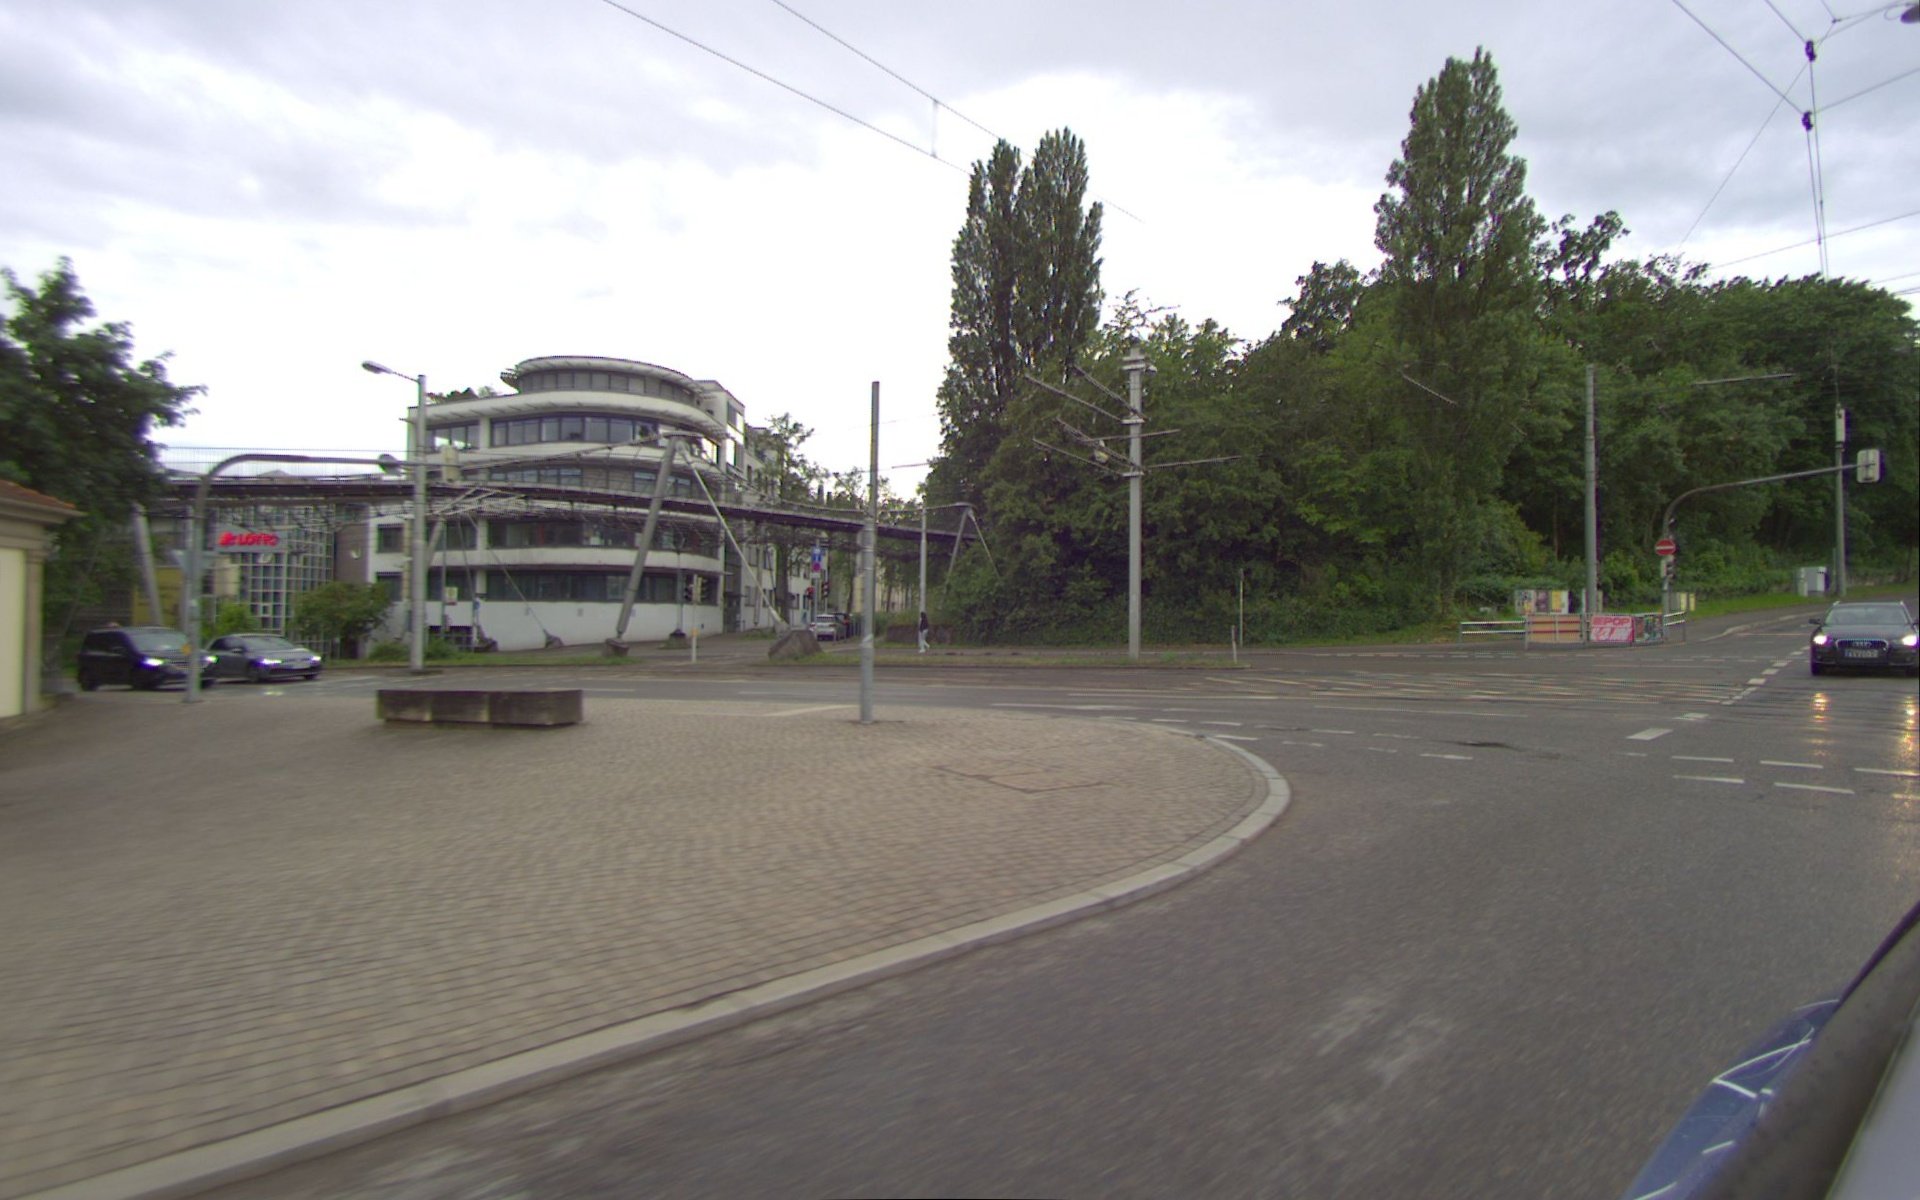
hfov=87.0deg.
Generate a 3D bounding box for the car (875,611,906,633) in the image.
[{"bbox_3d":[-5.103,1.629,74.899,1.707,1.581,3.746,-2,-1,5],"label":"car"}]

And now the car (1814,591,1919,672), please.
[{"bbox_3d":[20.525,0.619,22.083,3.923,1.608,1.858,-1,0,-34],"label":"car"}]

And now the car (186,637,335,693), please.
[{"bbox_3d":[-21.331,1.942,30.848,4.221,1.473,1.982,-2,1,28],"label":"car"}]

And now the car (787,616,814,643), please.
[{"bbox_3d":[-12.675,2.335,80.481,1.603,2.003,3.378,-2,-1,-1],"label":"car"}]

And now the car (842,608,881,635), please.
[{"bbox_3d":[-6.068,1.351,62.873,1.707,1.581,3.746,-2,-1,5],"label":"car"}]

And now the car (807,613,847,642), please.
[{"bbox_3d":[-7.562,1.545,57.711,1.604,1.581,3.749,-2,-1,2],"label":"car"}]

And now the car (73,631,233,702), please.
[{"bbox_3d":[-22.840,1.833,28.644,4.221,1.756,1.982,-2,1,28],"label":"car"}]

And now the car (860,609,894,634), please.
[{"bbox_3d":[-5.567,1.416,68.208,1.707,1.581,3.746,-2,-1,5],"label":"car"}]

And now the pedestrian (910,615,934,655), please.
[{"bbox_3d":[-1.547,1.424,41.044,0.650,1.575,0.800,-2,-4,32],"label":"pedestrian"}]

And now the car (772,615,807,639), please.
[{"bbox_3d":[-11.584,1.826,68.905,1.604,1.581,3.376,-2,-1,2],"label":"car"}]
